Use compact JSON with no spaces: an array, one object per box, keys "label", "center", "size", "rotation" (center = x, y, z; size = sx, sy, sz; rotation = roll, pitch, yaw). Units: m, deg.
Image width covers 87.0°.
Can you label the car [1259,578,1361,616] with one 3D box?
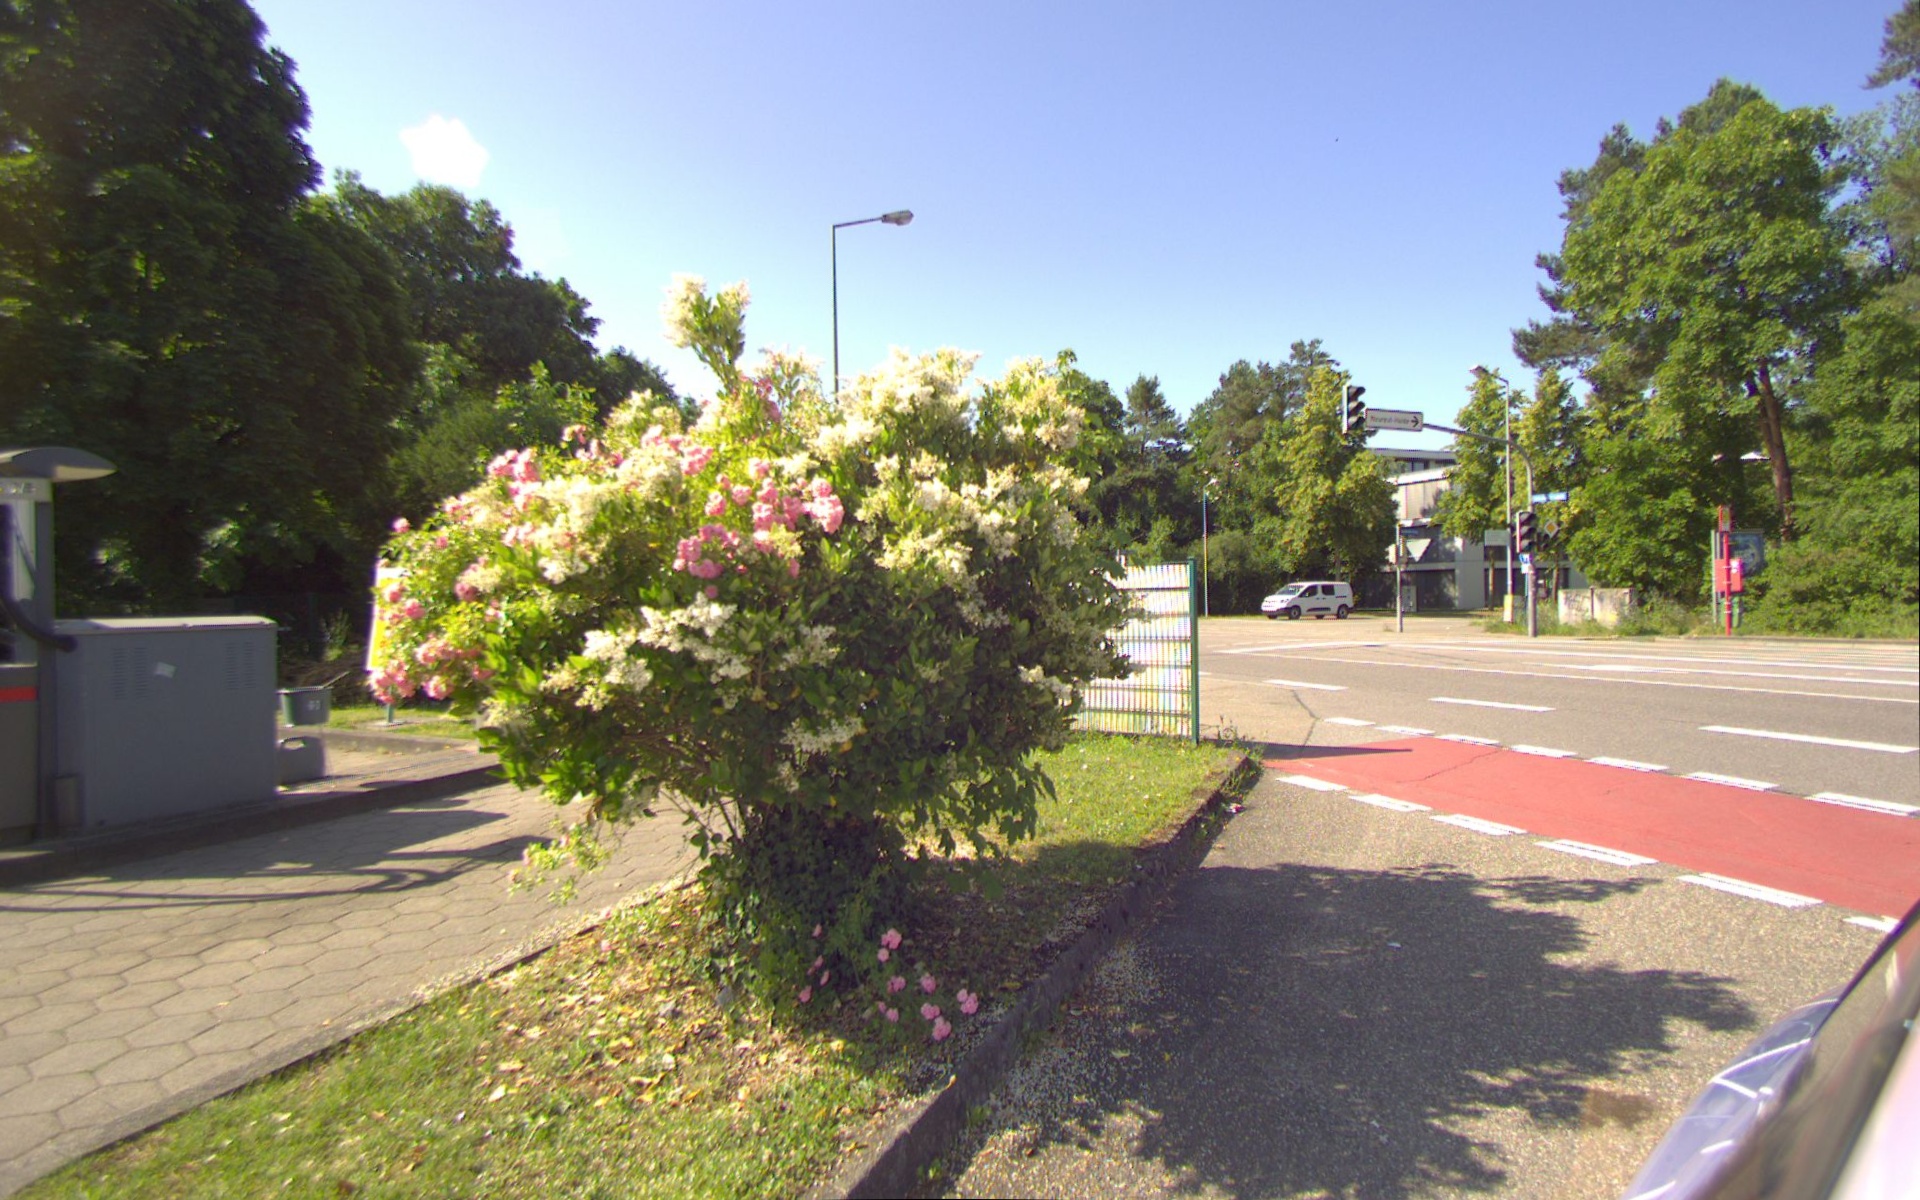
[{"label":"car","center":[16.972,-0.164,49.048],"size":[4.564,1.800,1.856],"rotation":[0,0,-22]}]
